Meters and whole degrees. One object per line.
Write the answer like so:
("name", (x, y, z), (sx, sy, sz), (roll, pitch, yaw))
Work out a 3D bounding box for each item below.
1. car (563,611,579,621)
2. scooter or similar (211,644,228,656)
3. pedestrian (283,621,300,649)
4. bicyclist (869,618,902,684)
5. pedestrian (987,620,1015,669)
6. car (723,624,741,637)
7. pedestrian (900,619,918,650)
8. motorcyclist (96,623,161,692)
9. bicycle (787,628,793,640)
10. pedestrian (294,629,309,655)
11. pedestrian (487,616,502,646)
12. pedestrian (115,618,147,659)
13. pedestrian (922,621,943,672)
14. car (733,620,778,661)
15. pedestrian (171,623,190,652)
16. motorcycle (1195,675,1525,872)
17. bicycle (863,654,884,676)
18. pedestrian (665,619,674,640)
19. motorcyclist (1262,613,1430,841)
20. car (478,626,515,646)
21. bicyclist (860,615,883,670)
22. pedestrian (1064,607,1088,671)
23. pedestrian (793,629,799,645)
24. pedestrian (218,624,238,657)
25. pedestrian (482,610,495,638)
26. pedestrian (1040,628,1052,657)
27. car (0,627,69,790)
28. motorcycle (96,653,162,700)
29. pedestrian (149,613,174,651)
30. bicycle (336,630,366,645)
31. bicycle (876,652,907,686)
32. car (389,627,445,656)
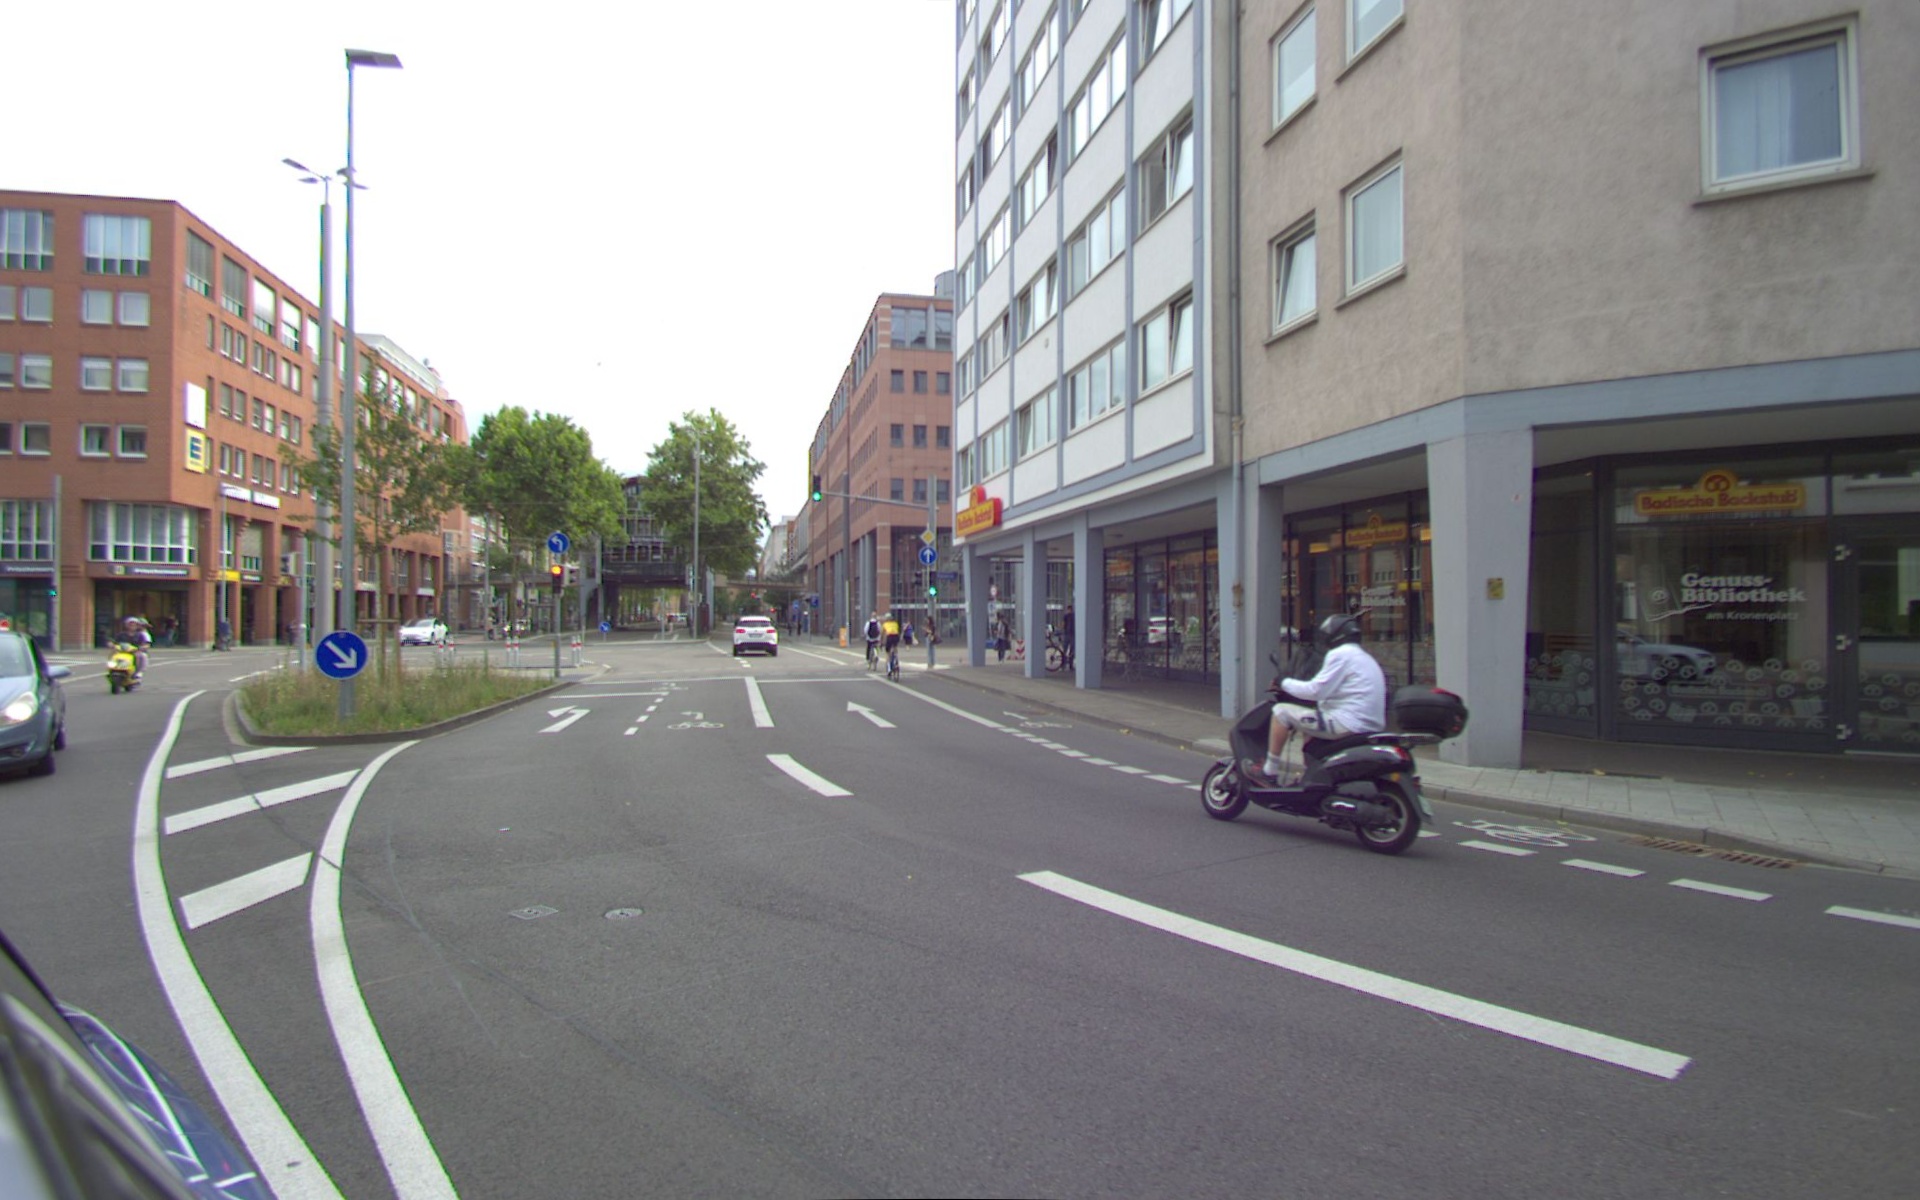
("car", (-63.245, 2.564, 164.512), (1.926, 1.613, 4.010), (0, -1, -12))
("scooter or similar", (-38.256, 2.573, 52.288), (0.499, 0.578, 0.818), (0, -1, -20))
("pedestrian", (-40.888, 2.139, 61.881), (0.637, 1.709, 0.700), (1, -1, -15))
("bicyclist", (-1.935, 1.308, 26.240), (0.702, 1.662, 0.974), (0, -1, -14))
("pedestrian", (1.343, 1.445, 33.075), (0.687, 1.606, 0.652), (-1, -2, 35))
("car", (-36.534, 4.845, 162.113), (2.467, 1.962, 5.108), (0, -1, -18))
("pedestrian", (-2.517, 1.701, 50.164), (0.786, 1.484, 0.686), (0, -1, -12))
("motorcyclist", (-19.042, 1.289, 23.198), (0.857, 1.528, 1.047), (0, -2, -22))
("bicycle", (-16.482, 3.273, 98.218), (0.538, 1.126, 1.593), (0, -2, -12))
("pedestrian", (-41.377, 2.626, 63.602), (0.401, 1.644, 0.733), (2, -2, -5))
("pedestrian", (-29.468, 1.977, 64.064), (0.682, 1.889, 0.809), (0, -1, -12))
("pedestrian", (-42.595, 1.987, 51.992), (1.043, 2.029, 0.987), (-3, -1, 36))
("pedestrian", (-0.851, 1.434, 31.252), (0.491, 1.571, 0.520), (0, -1, -19))
("car", (-8.857, 1.714, 43.728), (1.807, 1.672, 4.335), (0, -2, -12))
("pedestrian", (-44.009, 2.119, 57.141), (0.533, 1.664, 0.895), (0, -2, -13))
("motorcycle", (2.736, 1.120, 7.103), (2.037, 1.103, 0.713), (-1, -4, 45))
("bicycle", (-2.670, 1.998, 31.266), (0.477, 0.593, 2.002), (0, -1, -10))
("pedestrian", (-22.488, 2.266, 78.267), (0.647, 1.549, 0.560), (0, 1, -16))
("motorcyclist", (2.722, 0.841, 7.131), (0.865, 1.471, 0.787), (-1, -3, 44))
("car", (-37.985, 2.918, 83.039), (1.926, 1.613, 4.010), (0, -1, -12))
("bicyclist", (-2.742, 1.314, 31.325), (0.600, 1.658, 1.039), (0, -1, -10))
("pedestrian", (3.226, 1.080, 28.262), (0.469, 1.779, 0.590), (0, -2, -13))
("pedestrian", (-15.817, 3.574, 97.837), (0.520, 1.585, 0.602), (0, -1, -12))
("pedestrian", (-38.385, 2.136, 53.070), (0.630, 1.700, 0.601), (0, -2, -13))
("pedestrian", (-30.907, 1.549, 66.295), (0.529, 1.805, 0.576), (-1, -1, 8))
("pedestrian", (4.795, 2.344, 56.403), (0.499, 1.589, 0.522), (0, -2, -10))
("car", (-10.276, 1.032, 10.250), (1.697, 1.413, 4.007), (-2, 1, -39))
("motorcycle", (-19.023, 1.734, 23.211), (0.561, 0.975, 2.020), (0, -1, -22))
("pedestrian", (-43.402, 1.727, 55.016), (0.802, 2.029, 0.799), (-2, -1, -15))
("bicycle", (-45.547, 2.795, 75.701), (1.830, 1.048, 0.509), (0, -2, -12))
("bicycle", (-1.806, 1.771, 26.297), (0.403, 0.801, 2.004), (0, -1, -16))
("car", (-32.501, 2.473, 60.725), (1.926, 1.613, 4.010), (0, -1, -12))
